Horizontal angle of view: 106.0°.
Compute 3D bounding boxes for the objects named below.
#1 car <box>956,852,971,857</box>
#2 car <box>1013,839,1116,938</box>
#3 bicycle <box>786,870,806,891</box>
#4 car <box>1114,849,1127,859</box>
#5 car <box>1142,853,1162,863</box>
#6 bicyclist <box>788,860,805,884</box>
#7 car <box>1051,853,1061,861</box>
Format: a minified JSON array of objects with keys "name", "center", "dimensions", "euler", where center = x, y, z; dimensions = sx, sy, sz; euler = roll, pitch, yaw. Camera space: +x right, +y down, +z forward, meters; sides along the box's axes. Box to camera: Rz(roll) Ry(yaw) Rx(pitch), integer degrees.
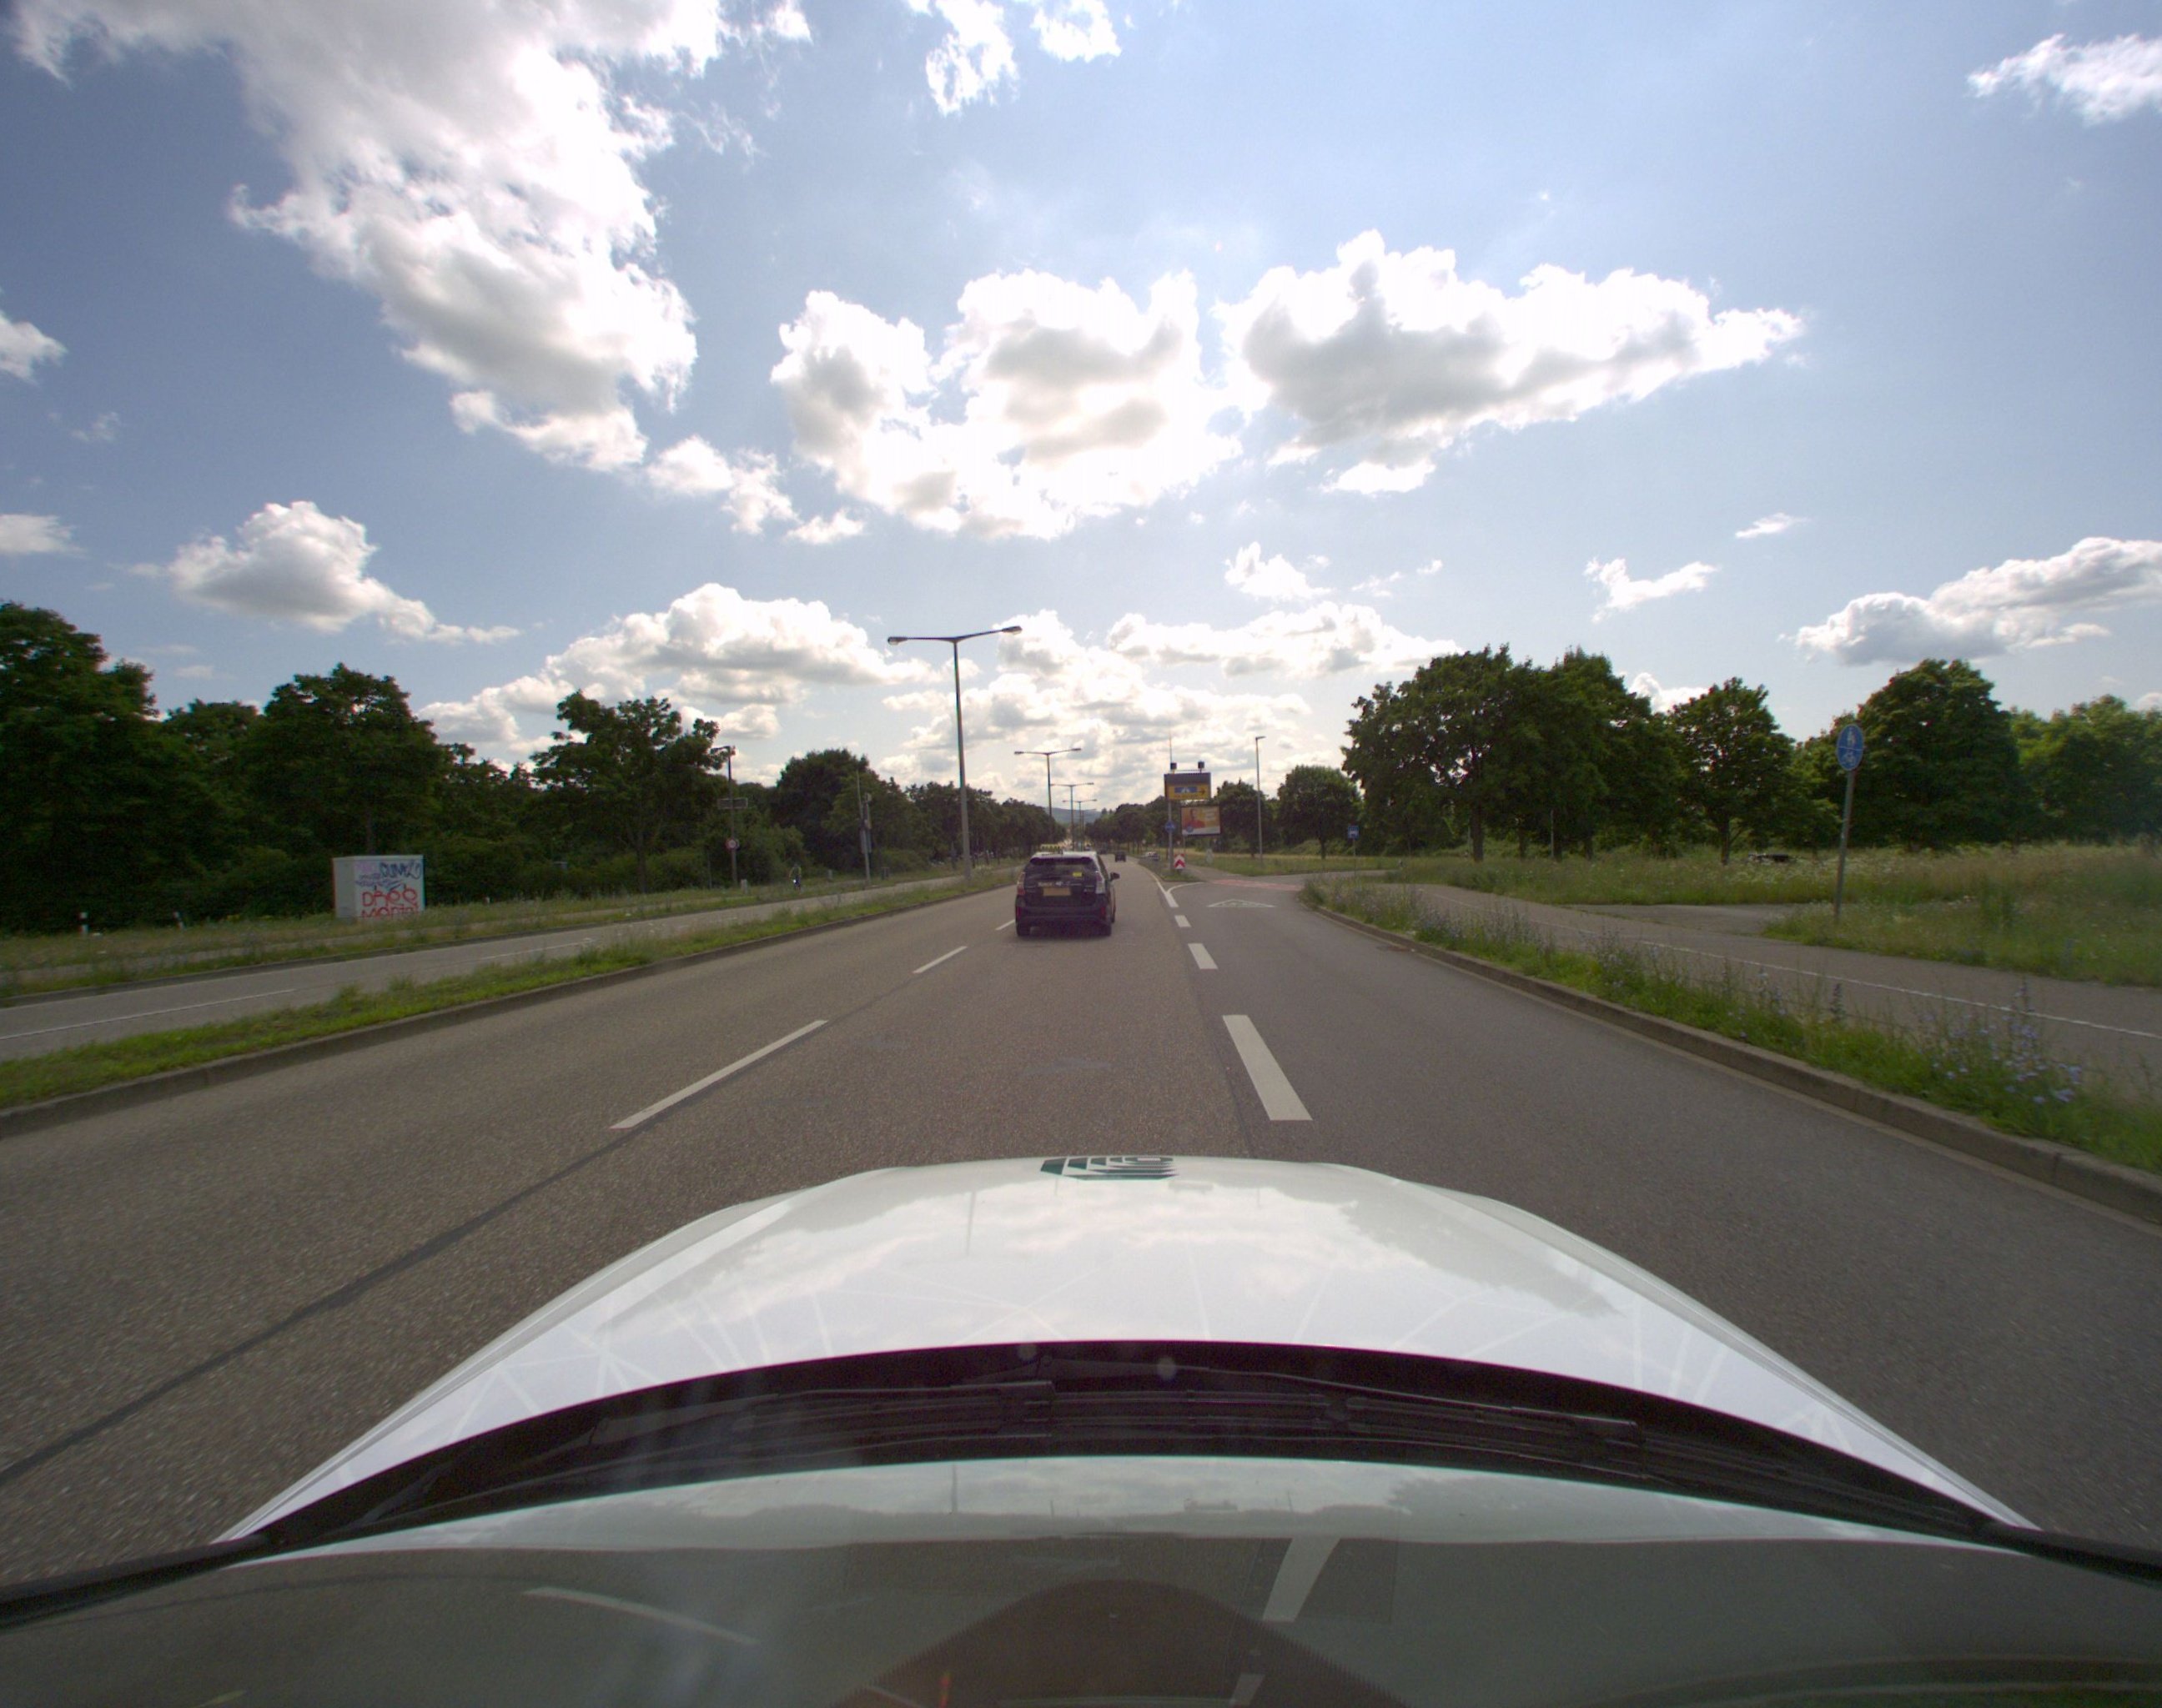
[{"name":"car","center":[-32.183,0.187,223.598],"dimensions":[3.768,1.387,1.787],"euler":[-1,1,3]},{"name":"car","center":[-0.268,0.566,16.184],"dimensions":[1.773,1.683,4.000],"euler":[-1,1,0]},{"name":"bicycle","center":[-16.161,1.502,46.238],"dimensions":[0.430,1.068,1.908],"euler":[-1,1,1]},{"name":"car","center":[6.622,0.013,137.843],"dimensions":[1.987,1.661,4.001],"euler":[-1,1,1]},{"name":"car","center":[11.201,0.643,128.991],"dimensions":[1.996,1.508,3.982],"euler":[-1,1,-14]},{"name":"bicyclist","center":[-16.166,1.013,46.293],"dimensions":[0.519,1.272,1.107],"euler":[-1,1,0]},{"name":"car","center":[-5.735,0.724,185.682],"dimensions":[1.870,1.790,4.729],"euler":[-4,0,1]}]
